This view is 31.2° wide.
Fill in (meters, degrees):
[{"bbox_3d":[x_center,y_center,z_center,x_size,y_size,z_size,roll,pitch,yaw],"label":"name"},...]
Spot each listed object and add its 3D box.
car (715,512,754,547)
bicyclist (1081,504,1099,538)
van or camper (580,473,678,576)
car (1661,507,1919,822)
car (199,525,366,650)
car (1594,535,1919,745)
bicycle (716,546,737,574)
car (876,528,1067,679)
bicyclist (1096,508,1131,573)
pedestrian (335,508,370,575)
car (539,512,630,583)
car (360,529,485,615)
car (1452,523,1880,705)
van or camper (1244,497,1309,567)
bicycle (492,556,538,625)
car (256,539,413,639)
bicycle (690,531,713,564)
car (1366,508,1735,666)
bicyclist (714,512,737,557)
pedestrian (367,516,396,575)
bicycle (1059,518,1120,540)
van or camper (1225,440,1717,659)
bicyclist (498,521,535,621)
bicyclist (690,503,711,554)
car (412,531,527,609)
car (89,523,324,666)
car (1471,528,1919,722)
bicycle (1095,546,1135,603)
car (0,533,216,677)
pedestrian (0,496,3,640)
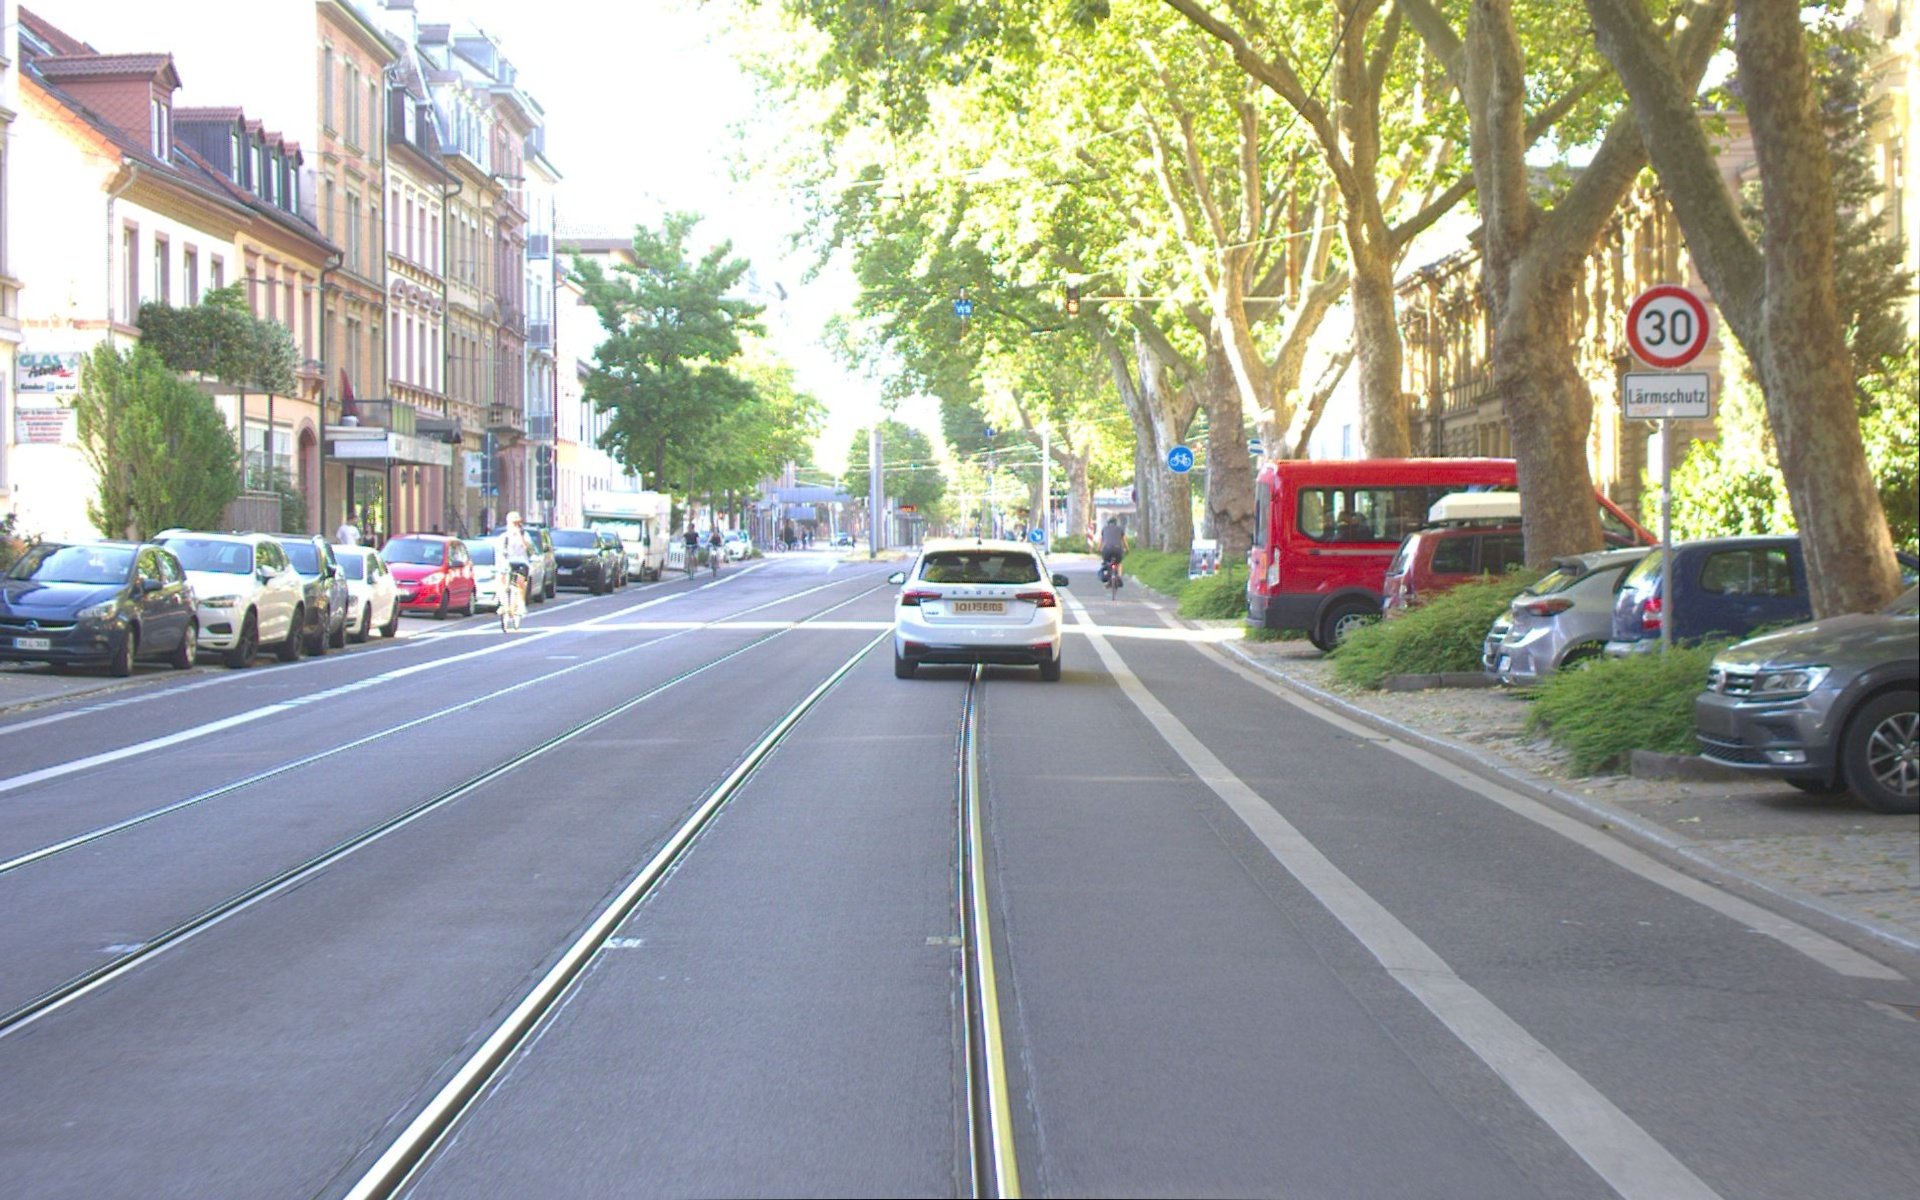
[{"bbox_3d":[-11.356,-3.566,173.332,1.794,1.720,3.785,1,1,-1],"label":"car"},{"bbox_3d":[6.158,-3.741,162.568,0.737,1.583,0.586,0,1,13],"label":"bicyclist"},{"bbox_3d":[-10.514,-2.399,109.633,2.217,3.129,7.113,1,1,2],"label":"van or camper"},{"bbox_3d":[6.516,0.275,20.319,4.261,1.713,1.849,-3,1,-2],"label":"car"},{"bbox_3d":[-9.652,-0.222,49.279,1.856,1.698,4.660,-1,1,-5],"label":"car"},{"bbox_3d":[6.931,0.296,27.075,3.595,1.594,1.541,0,0,1],"label":"car"},{"bbox_3d":[-7.938,-1.364,117.120,0.499,0.940,1.921,-2,1,2],"label":"bicycle"},{"bbox_3d":[0.066,0.000,36.190,1.842,1.475,3.839,1,1,-2],"label":"car"},{"bbox_3d":[3.217,-1.248,72.157,0.679,1.334,0.525,1,1,0],"label":"bicyclist"},{"bbox_3d":[-15.080,-1.453,85.279,0.771,1.628,0.657,1,1,-15],"label":"pedestrian"},{"bbox_3d":[-9.972,-1.413,91.679,1.964,1.775,4.938,3,1,-2],"label":"car"},{"bbox_3d":[-10.052,-0.550,64.519,1.569,1.557,3.448,0,1,4],"label":"car"},{"bbox_3d":[6.658,0.107,32.675,3.670,1.518,1.694,-3,1,0],"label":"car"},{"bbox_3d":[11.422,-2.451,124.301,2.027,2.455,5.108,1,1,2],"label":"van or camper"},{"bbox_3d":[-7.271,-0.162,56.209,0.481,1.082,1.846,0,1,1],"label":"bicycle"},{"bbox_3d":[-9.851,-0.206,54.376,1.687,1.472,4.258,1,1,0],"label":"car"},{"bbox_3d":[-8.375,-1.701,111.263,0.484,1.044,2.039,-2,1,2],"label":"bicycle"},{"bbox_3d":[6.699,-0.146,39.259,3.818,1.643,1.767,-2,0,-2],"label":"car"},{"bbox_3d":[-7.983,-2.226,116.947,0.638,1.498,1.070,-1,1,1],"label":"bicyclist"},{"bbox_3d":[-14.388,-1.357,85.498,0.635,1.455,0.657,1,1,-16],"label":"pedestrian"},{"bbox_3d":[6.120,-3.375,162.569,2.772,0.996,0.592,1,1,15],"label":"bicycle"},{"bbox_3d":[6.455,-0.670,43.914,5.814,2.510,2.288,-2,2,-2],"label":"van or camper"},{"bbox_3d":[-7.268,-0.479,56.331,0.473,1.630,0.800,0,1,1],"label":"bicyclist"},{"bbox_3d":[-8.406,-2.328,111.350,0.535,1.629,0.896,-2,1,2],"label":"bicyclist"},{"bbox_3d":[-9.957,-0.638,70.081,1.827,1.497,4.689,1,1,-2],"label":"car"},{"bbox_3d":[-9.471,-0.120,43.587,1.857,1.698,4.763,0,1,1],"label":"car"},{"bbox_3d":[6.343,0.191,29.616,3.595,1.512,1.694,-2,1,0],"label":"car"},{"bbox_3d":[3.219,-0.547,71.755,0.680,1.151,2.964,1,1,0],"label":"bicycle"},{"bbox_3d":[-9.646,0.017,38.669,1.554,1.510,3.924,0,1,2],"label":"car"},{"bbox_3d":[-12.415,-0.396,42.851,0.759,1.815,0.830,0,1,-3],"label":"pedestrian"}]
